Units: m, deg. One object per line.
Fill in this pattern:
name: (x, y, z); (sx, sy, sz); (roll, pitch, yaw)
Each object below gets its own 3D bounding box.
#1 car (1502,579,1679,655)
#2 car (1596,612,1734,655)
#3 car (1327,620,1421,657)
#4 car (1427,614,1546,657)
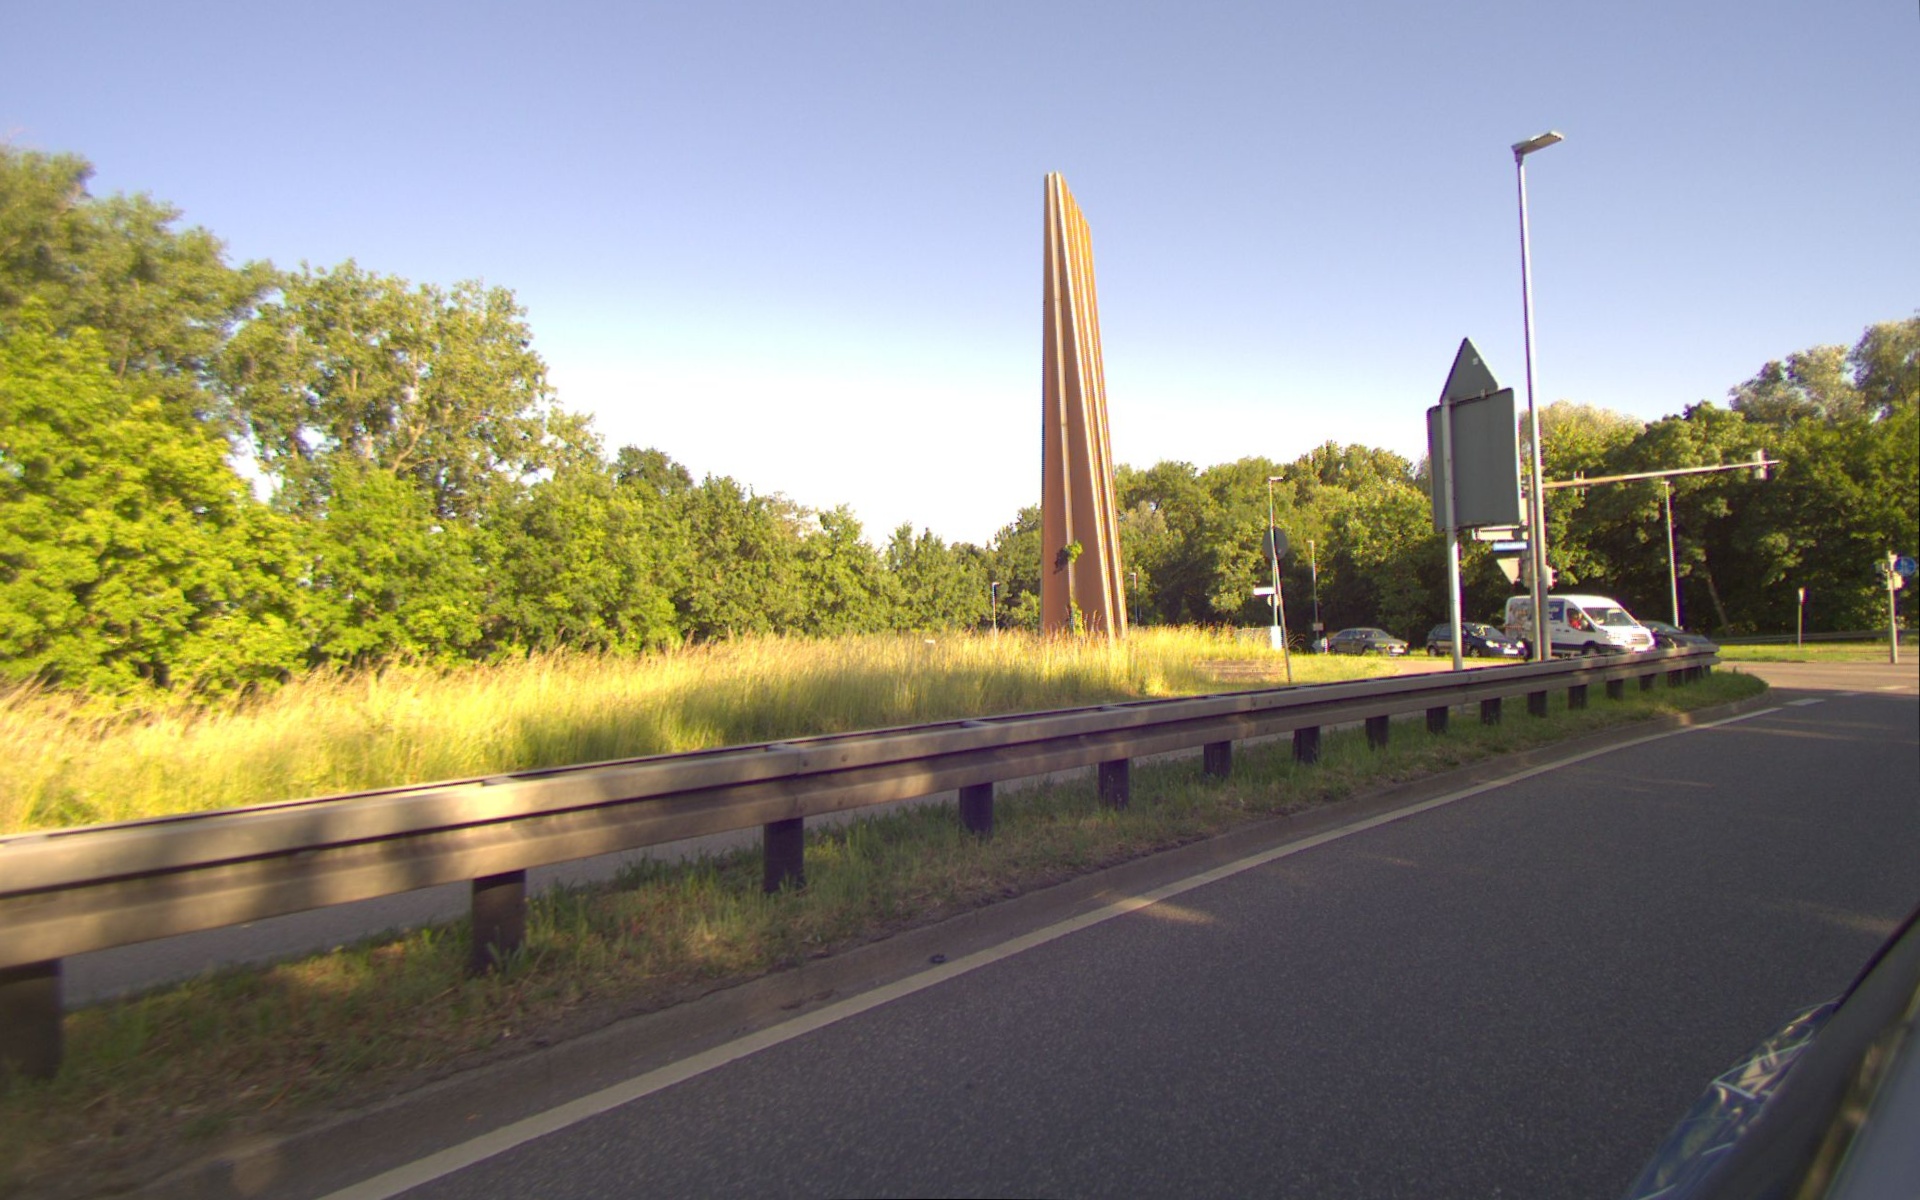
car: (22.668, 0.667, 36.778); (2.071, 2.532, 5.713); (0, -2, -10)
car: (25.992, 1.194, 37.471); (1.733, 1.458, 4.096); (0, 0, -12)
car: (17.653, 1.608, 43.343); (1.614, 1.408, 4.297); (0, 0, -11)
car: (19.081, 1.236, 36.903); (1.807, 1.432, 3.994); (0, 0, -9)
